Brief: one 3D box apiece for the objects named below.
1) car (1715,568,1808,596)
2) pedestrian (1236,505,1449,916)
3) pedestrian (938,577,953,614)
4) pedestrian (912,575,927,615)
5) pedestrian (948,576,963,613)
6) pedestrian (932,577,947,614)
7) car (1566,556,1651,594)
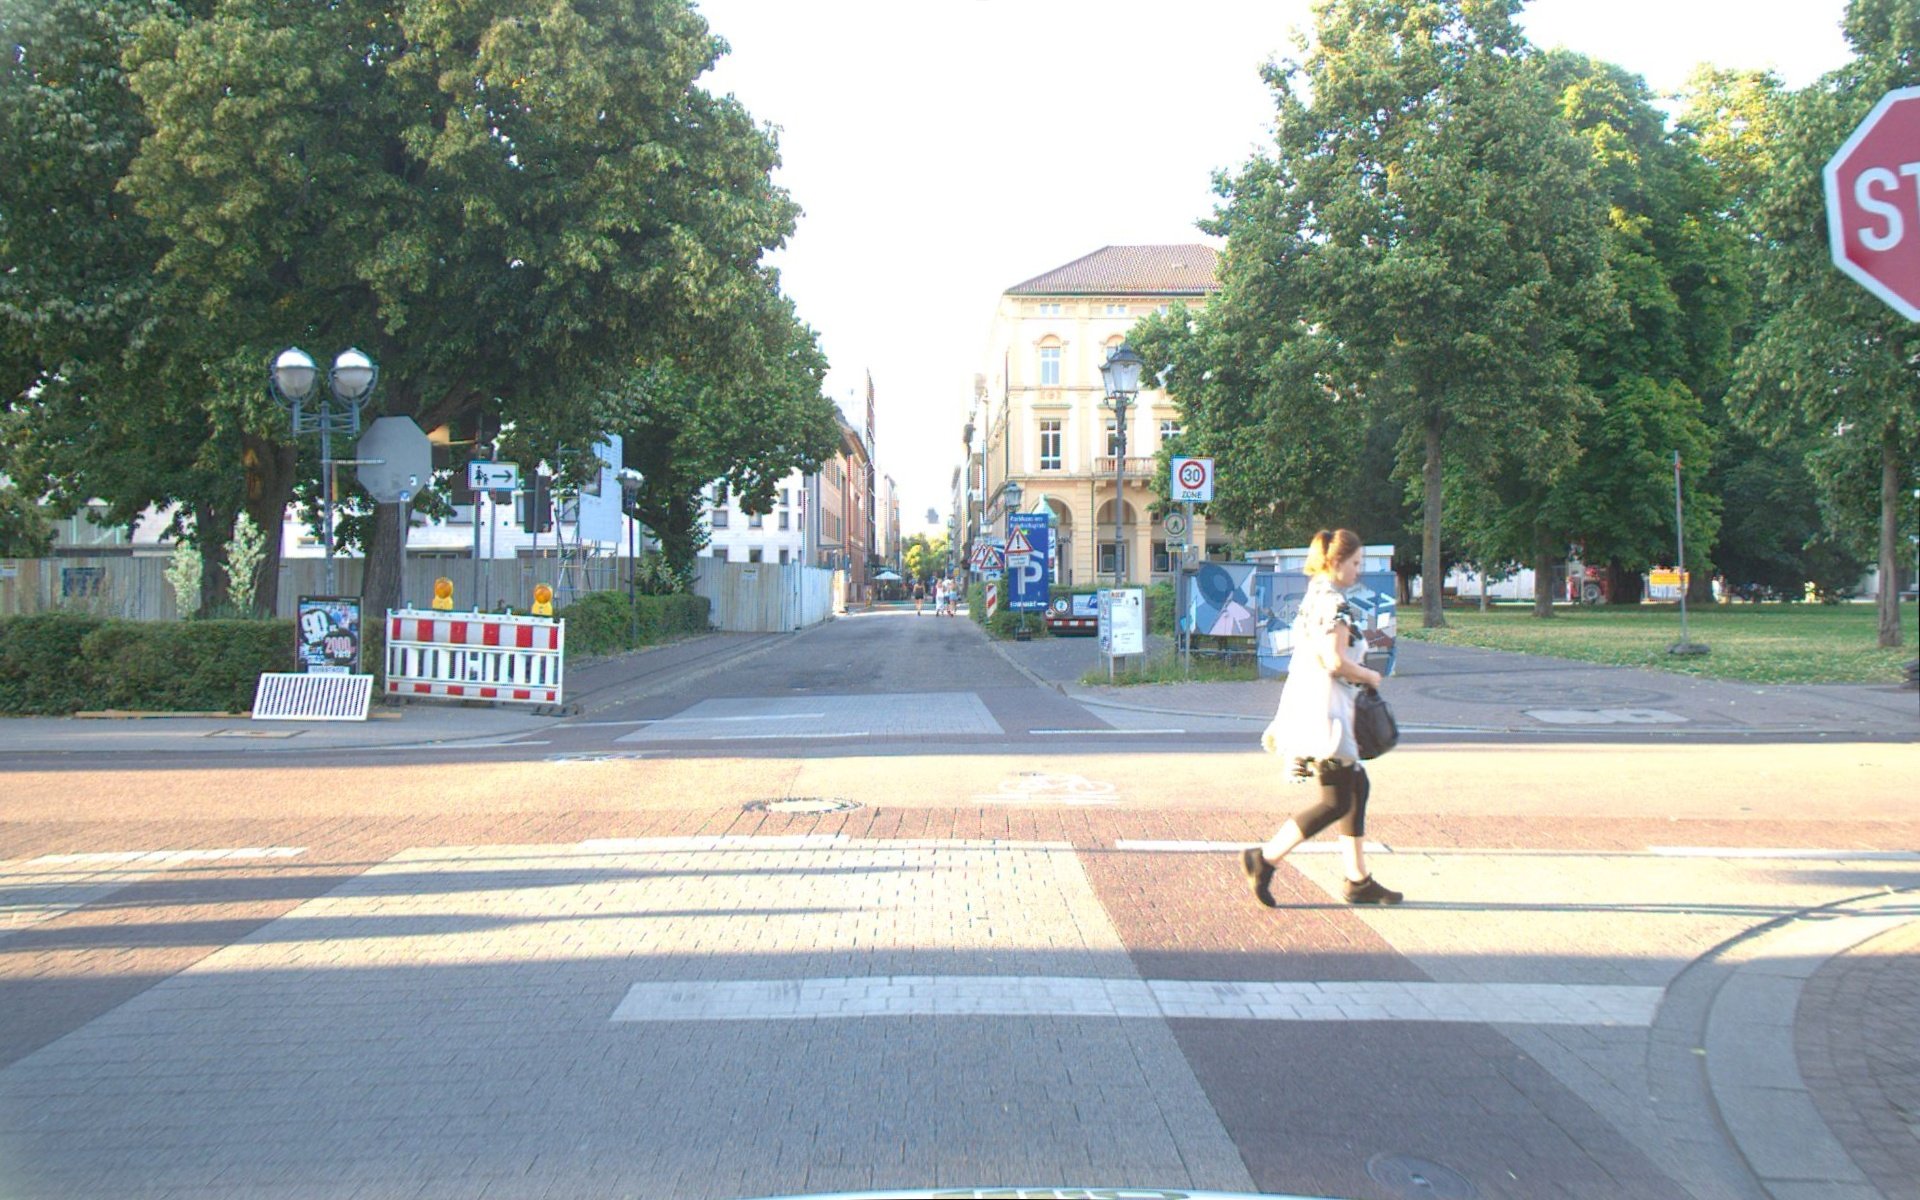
[{"bbox_3d":[38.577,-0.870,79.642,3.506,1.262,1.997,-1,1,-8],"label":"car"},{"bbox_3d":[1.679,0.458,7.373,0.719,1.719,0.836,-1,0,-2],"label":"pedestrian"},{"bbox_3d":[-0.647,-0.198,75.387,0.644,1.664,0.745,-1,1,-1],"label":"pedestrian"},{"bbox_3d":[-1.865,-0.216,75.311,0.644,1.790,0.745,-1,1,-1],"label":"pedestrian"},{"bbox_3d":[-0.208,-0.234,74.087,0.644,1.645,0.745,-1,1,-1],"label":"pedestrian"},{"bbox_3d":[-0.916,-0.189,74.004,0.644,1.645,0.745,-1,1,-1],"label":"pedestrian"},{"bbox_3d":[35.845,-1.374,91.501,3.949,2.049,2.000,-1,1,0],"label":"car"}]
